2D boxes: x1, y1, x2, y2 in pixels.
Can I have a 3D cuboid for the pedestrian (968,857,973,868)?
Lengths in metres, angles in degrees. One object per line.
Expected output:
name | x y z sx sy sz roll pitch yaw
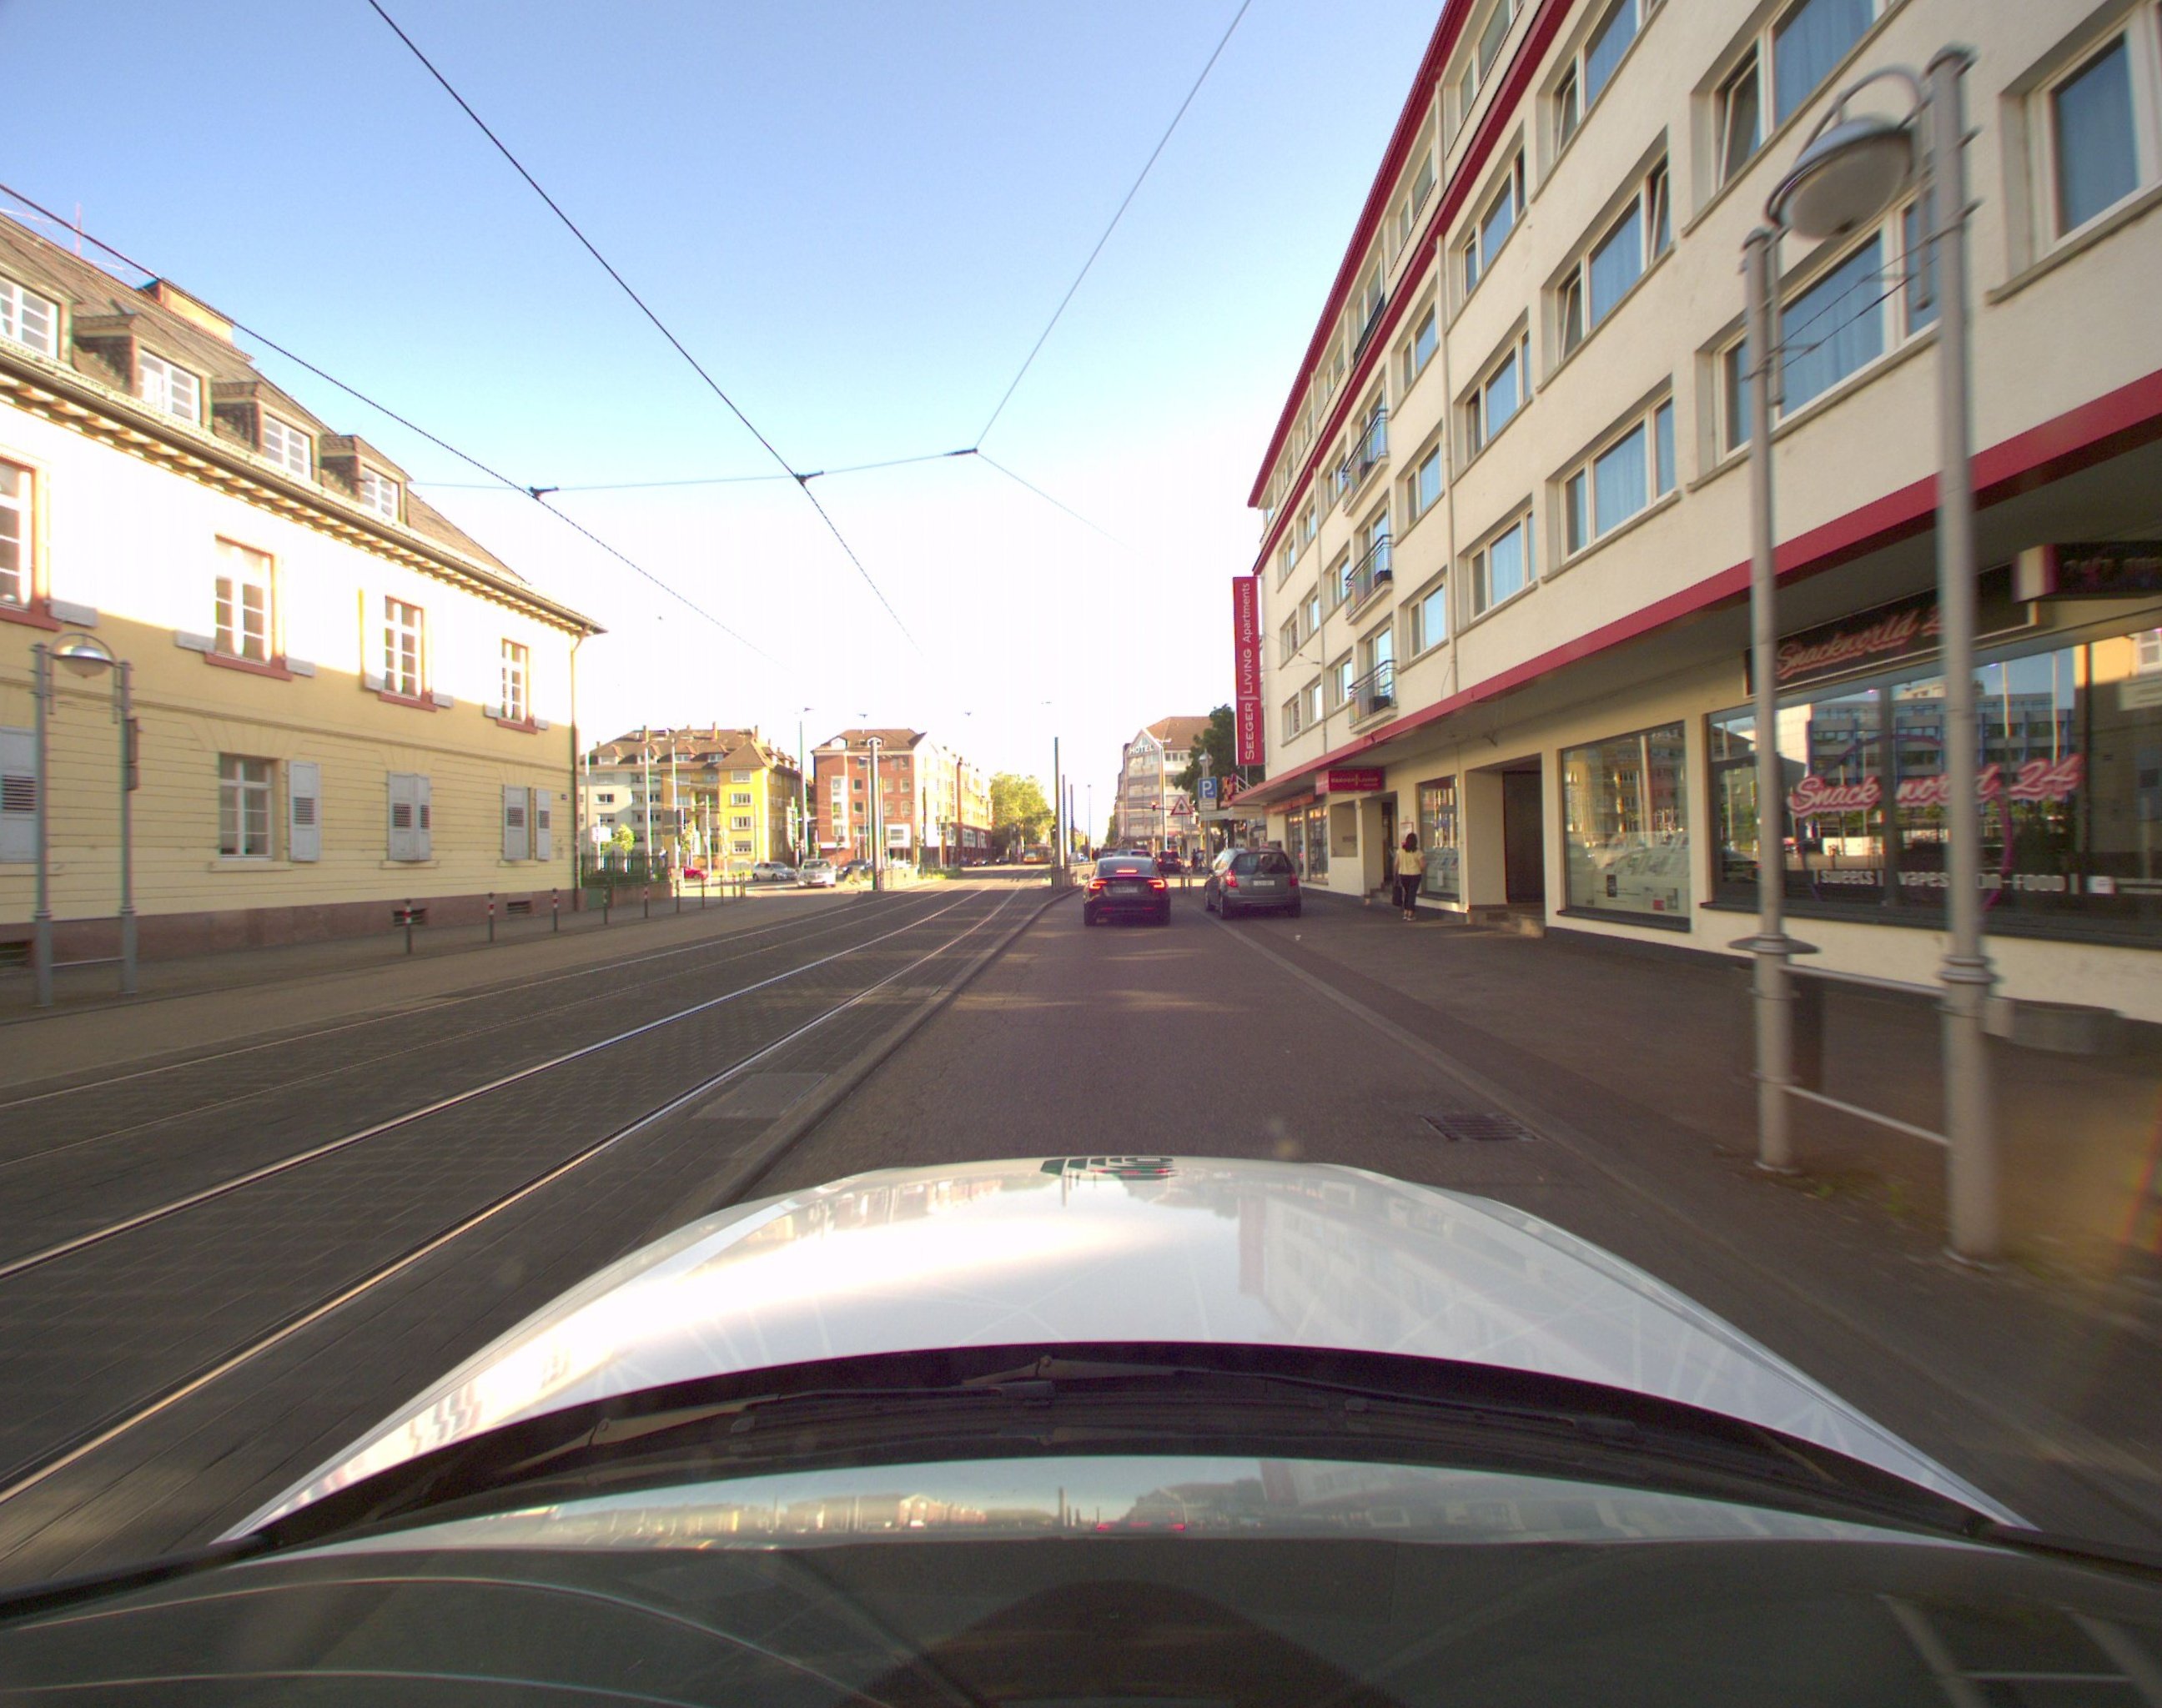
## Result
pedestrian | -17.843 1.376 131.729 0.710 1.667 0.563 1 -1 -7

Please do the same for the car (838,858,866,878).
car | -18.028 1.056 64.187 1.765 1.512 4.263 -1 0 -11

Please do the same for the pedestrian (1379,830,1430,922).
pedestrian | 6.427 0.426 16.220 0.797 1.774 0.936 -2 -1 16

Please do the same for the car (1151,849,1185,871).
car | 6.210 0.445 58.434 1.820 1.519 3.645 1 0 -3

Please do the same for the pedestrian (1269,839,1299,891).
pedestrian | 6.620 0.351 26.497 0.810 1.683 0.718 0 -1 25

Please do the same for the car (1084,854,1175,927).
car | 1.015 0.744 18.399 1.842 1.484 3.787 0 0 1

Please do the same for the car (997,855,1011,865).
car | -12.524 0.934 132.956 1.744 1.651 4.002 1 0 2

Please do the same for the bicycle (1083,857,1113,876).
bicycle | 0.996 0.731 47.834 1.726 1.088 0.677 1 -1 -6

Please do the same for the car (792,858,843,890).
car | -13.600 0.980 42.315 1.881 1.495 4.912 -2 0 -11

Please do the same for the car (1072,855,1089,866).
car | -0.103 0.866 111.628 1.984 1.420 4.005 1 0 5

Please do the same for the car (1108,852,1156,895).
car | 1.826 0.661 29.808 1.647 1.418 4.003 0 1 2

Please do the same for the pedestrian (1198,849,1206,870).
pedestrian | 9.559 0.447 64.257 0.626 1.613 0.644 0 0 5

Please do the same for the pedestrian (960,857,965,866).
pedestrian | -18.214 1.136 125.109 0.708 1.342 0.666 -1 0 2

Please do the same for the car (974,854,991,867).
car | -15.743 1.008 129.804 1.986 2.013 4.002 -2 0 2

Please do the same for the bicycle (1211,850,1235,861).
bicycle | 11.835 0.161 67.838 1.916 0.890 0.526 -1 -1 2

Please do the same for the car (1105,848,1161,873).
car | 3.165 0.402 50.757 1.791 1.519 4.185 1 0 -23

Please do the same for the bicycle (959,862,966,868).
bicycle | -18.219 1.707 125.059 0.699 0.855 2.054 -2 0 2

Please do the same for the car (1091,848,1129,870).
car | 2.051 0.363 58.218 1.825 1.519 4.202 1 0 -11

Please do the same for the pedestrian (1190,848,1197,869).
pedestrian | 9.210 0.360 66.593 0.559 1.683 0.751 0 0 7

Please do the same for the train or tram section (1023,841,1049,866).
train or tram section | -6.868 -0.074 126.378 2.664 3.715 14.200 0 0 2

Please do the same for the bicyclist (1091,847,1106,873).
bicyclist | 1.041 0.356 47.846 0.835 1.500 0.559 1 -1 -6

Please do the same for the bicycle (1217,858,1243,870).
bicycle | 11.592 0.769 63.364 1.916 0.950 0.526 -1 -1 2

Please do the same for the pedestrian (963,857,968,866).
pedestrian | -18.115 1.209 127.809 0.693 1.308 0.564 -2 0 0

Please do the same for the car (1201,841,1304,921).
car | 3.926 0.557 19.225 1.738 1.632 3.651 -3 0 2

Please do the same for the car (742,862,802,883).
car | -24.892 1.471 65.577 4.551 1.556 1.826 0 0 25

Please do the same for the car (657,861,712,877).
car | -36.527 1.371 75.189 4.143 1.490 1.933 0 0 -8

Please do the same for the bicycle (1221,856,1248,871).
bicycle | 11.415 0.693 60.479 1.916 1.097 0.555 -1 -1 2

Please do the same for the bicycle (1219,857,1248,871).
bicycle | 10.934 0.742 58.427 2.043 0.982 0.483 -1 -1 2

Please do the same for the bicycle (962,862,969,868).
bicycle | -18.105 1.710 127.835 0.699 0.855 2.054 -2 0 2
